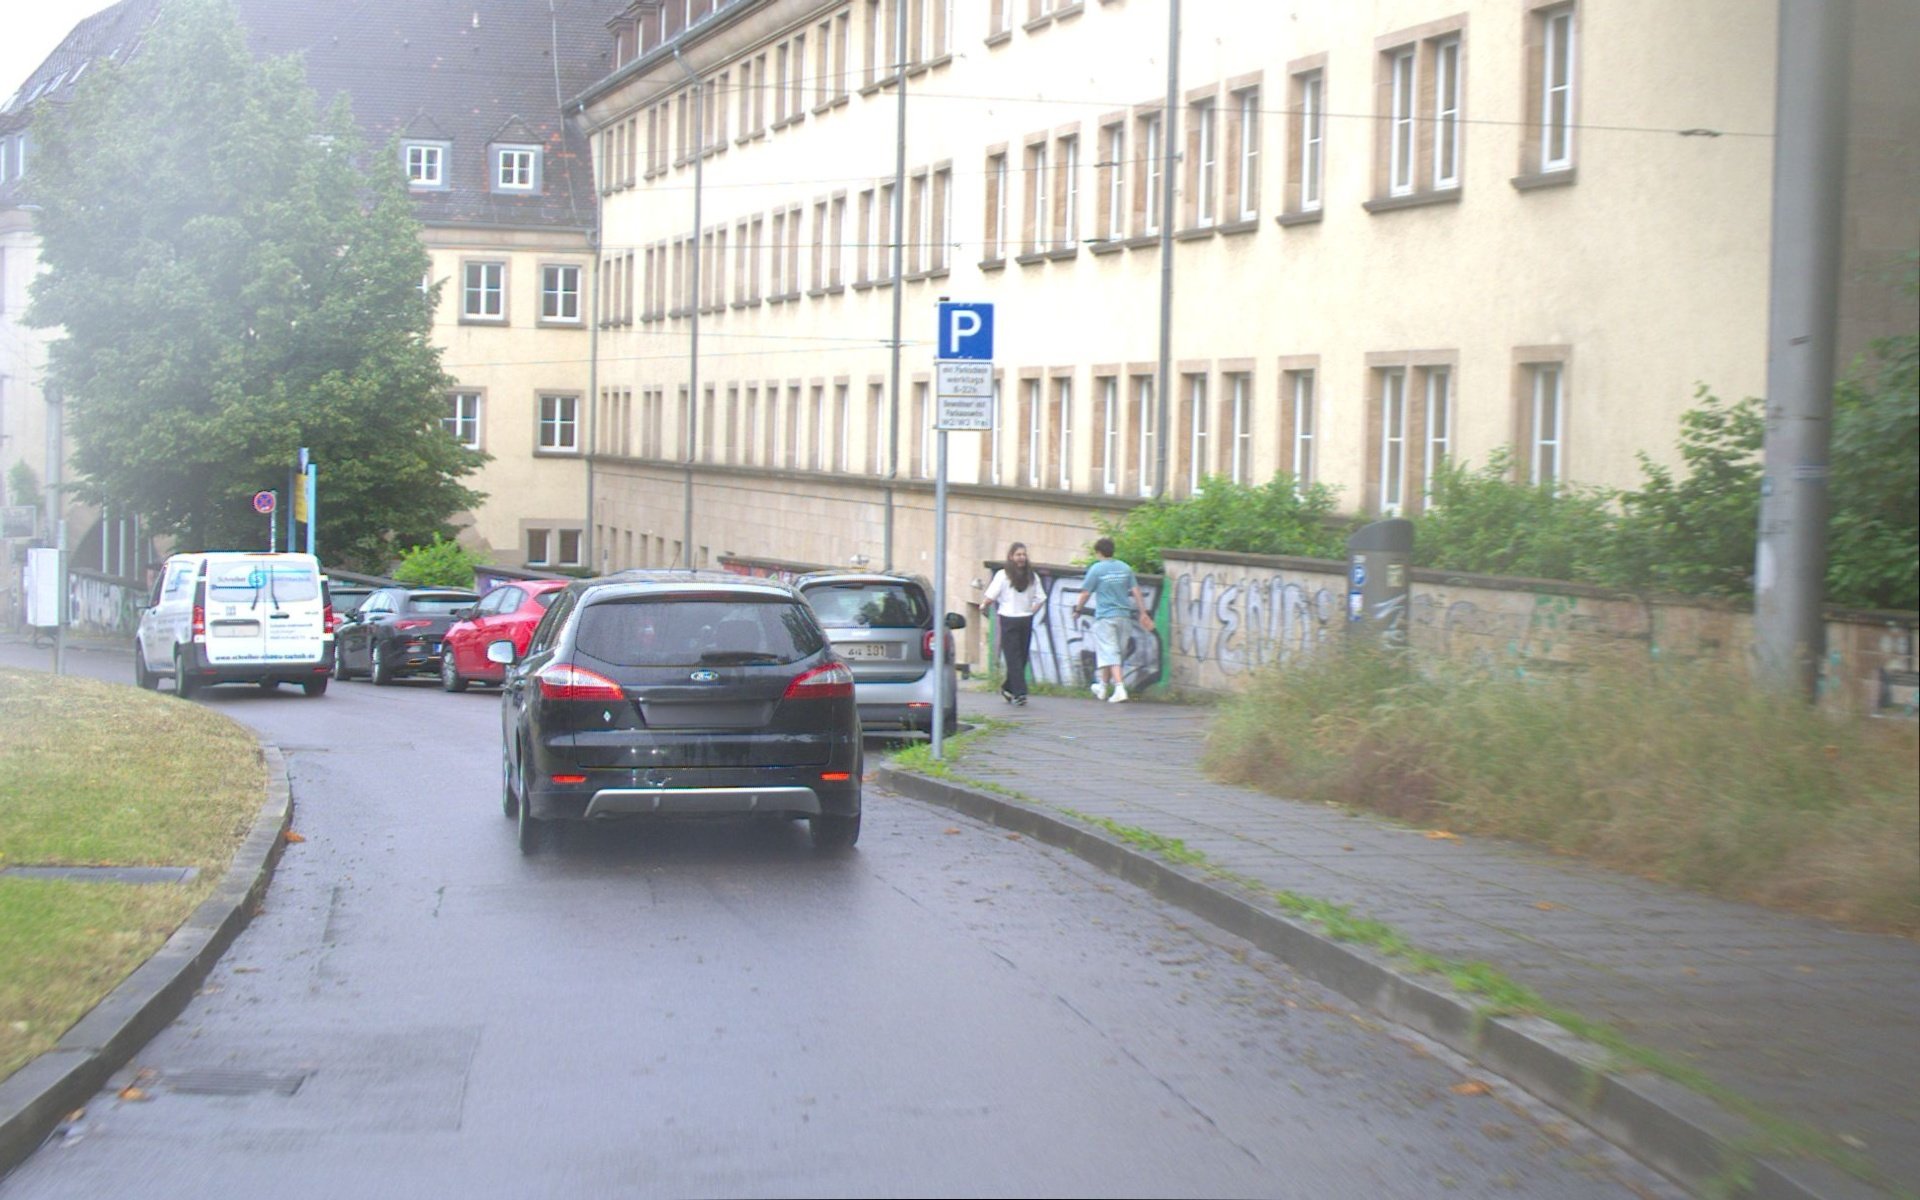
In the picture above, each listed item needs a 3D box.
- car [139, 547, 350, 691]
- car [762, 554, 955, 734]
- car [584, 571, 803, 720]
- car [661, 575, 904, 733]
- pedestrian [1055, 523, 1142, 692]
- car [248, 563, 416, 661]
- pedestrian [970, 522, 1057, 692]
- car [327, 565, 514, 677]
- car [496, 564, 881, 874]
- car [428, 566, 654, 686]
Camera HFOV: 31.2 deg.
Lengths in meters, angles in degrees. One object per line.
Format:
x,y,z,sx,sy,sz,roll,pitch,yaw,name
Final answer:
-9.462,0.200,45.255,2.136,1.739,4.219,-1,2,-20,car
-0.906,0.348,30.247,1.597,1.460,2.721,-1,1,-2,car
-3.123,0.477,39.638,1.665,1.567,3.857,-1,1,-17,car
-1.819,0.492,34.137,1.535,1.411,3.645,-1,1,-17,car
1.455,0.068,36.138,0.717,1.748,0.739,-1,1,-13,pedestrian
-10.092,0.161,55.024,1.665,1.471,4.110,-2,1,-25,car
0.556,0.068,35.966,0.717,1.748,0.739,-1,1,-13,pedestrian
-7.807,0.263,49.447,1.665,1.471,4.458,-2,1,-22,car
-1.617,0.571,19.266,1.919,1.474,4.001,0,1,-7,car
-5.480,0.312,44.557,1.665,1.471,4.067,1,0,-26,car
